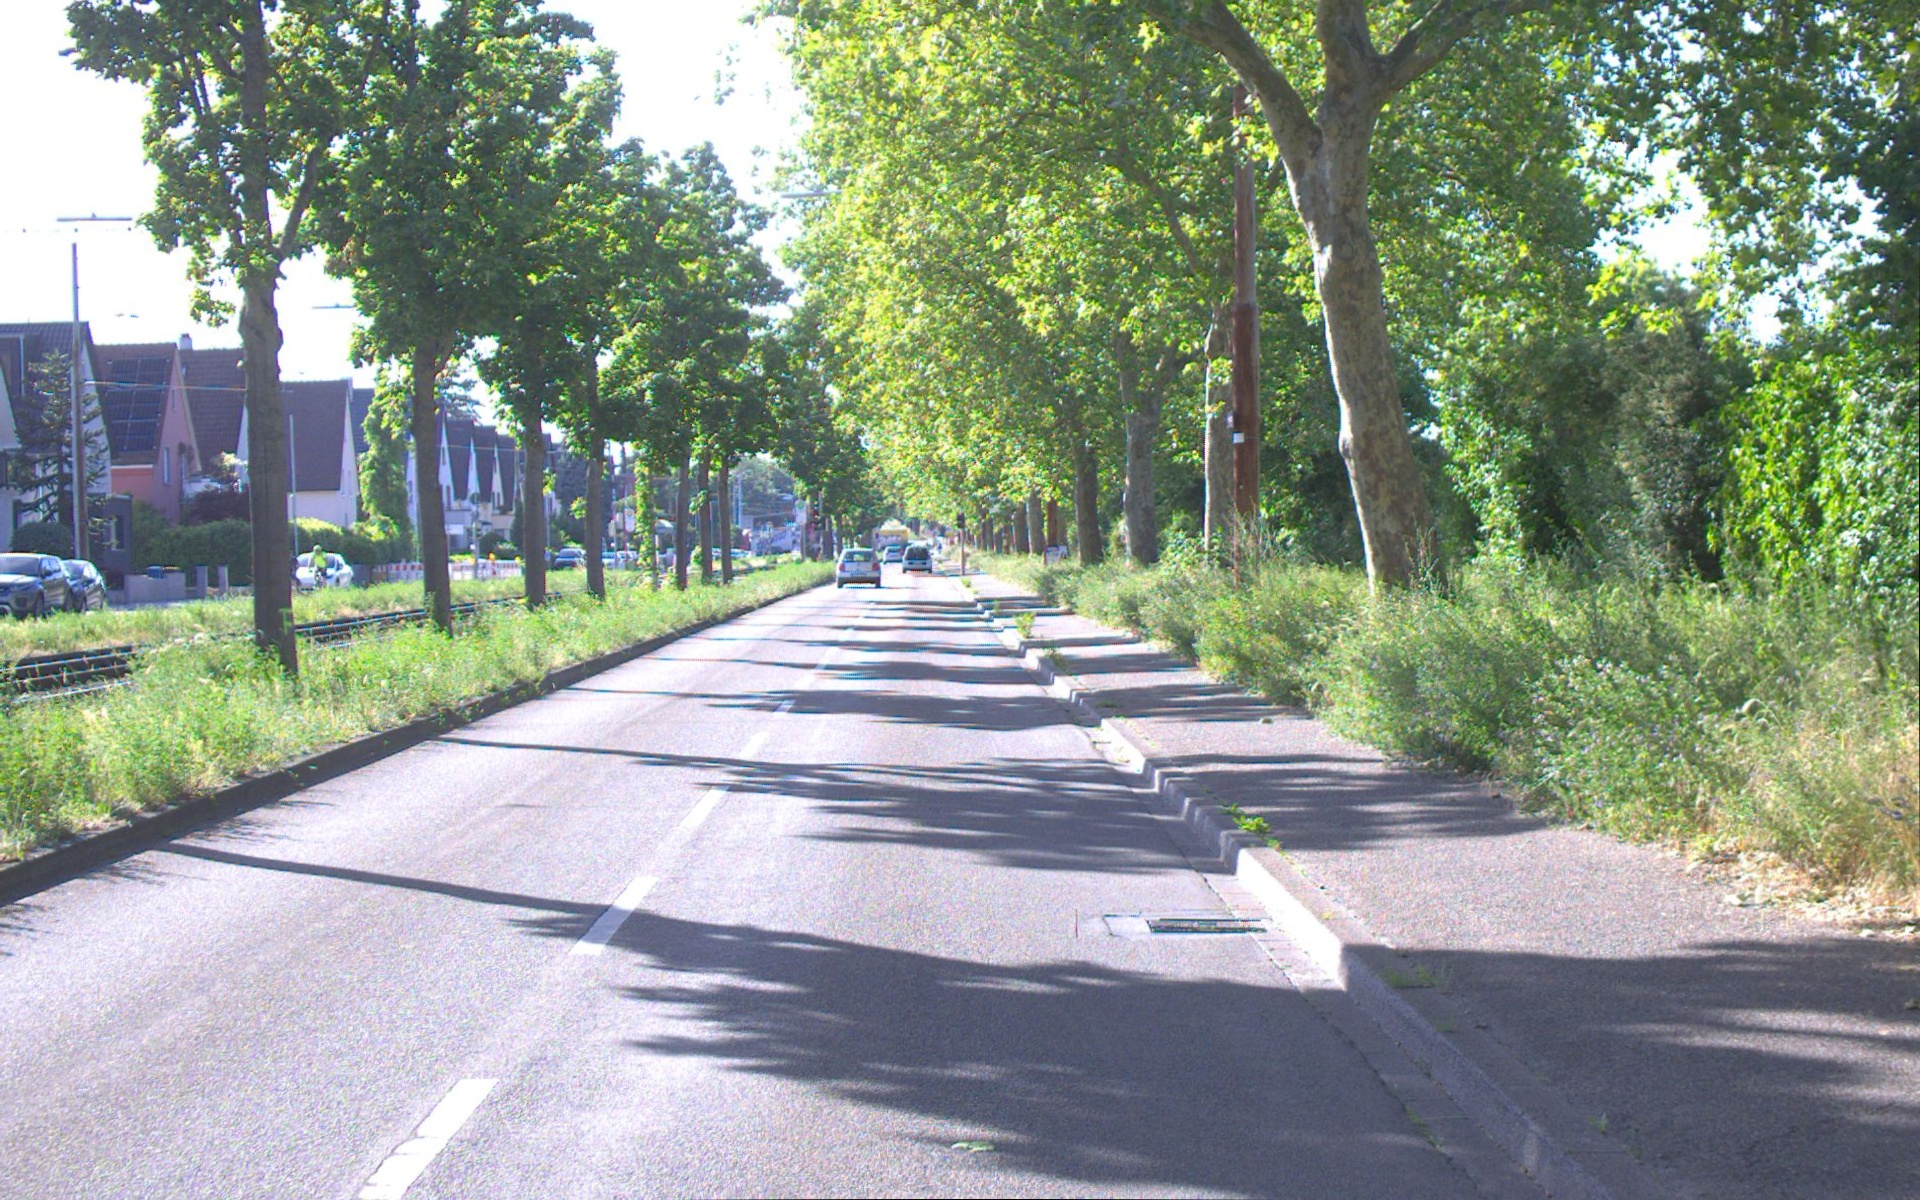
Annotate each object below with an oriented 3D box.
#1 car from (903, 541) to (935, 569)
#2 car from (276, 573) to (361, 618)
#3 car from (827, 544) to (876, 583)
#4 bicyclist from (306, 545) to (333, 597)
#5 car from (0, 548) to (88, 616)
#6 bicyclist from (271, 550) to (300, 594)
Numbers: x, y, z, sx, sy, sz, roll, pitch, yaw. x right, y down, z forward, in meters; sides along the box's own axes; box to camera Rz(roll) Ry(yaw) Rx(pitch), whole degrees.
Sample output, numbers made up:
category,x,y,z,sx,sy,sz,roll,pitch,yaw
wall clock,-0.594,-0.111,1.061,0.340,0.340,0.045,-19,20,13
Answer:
category,x,y,z,sx,sy,sz,roll,pitch,yaw
car,-2.276,-2.516,192.794,1.761,1.508,3.277,0,1,0
car,-23.346,-0.192,125.351,1.994,1.593,4.731,0,1,3
car,-3.964,-1.336,126.376,1.738,1.396,3.277,0,1,-1
bicyclist,-20.456,-0.922,109.845,0.688,1.646,0.881,-1,1,-1
car,-22.178,-0.437,81.898,1.644,1.563,4.386,0,1,1
bicyclist,-20.794,-0.869,105.999,0.688,1.332,0.881,-1,1,-1
